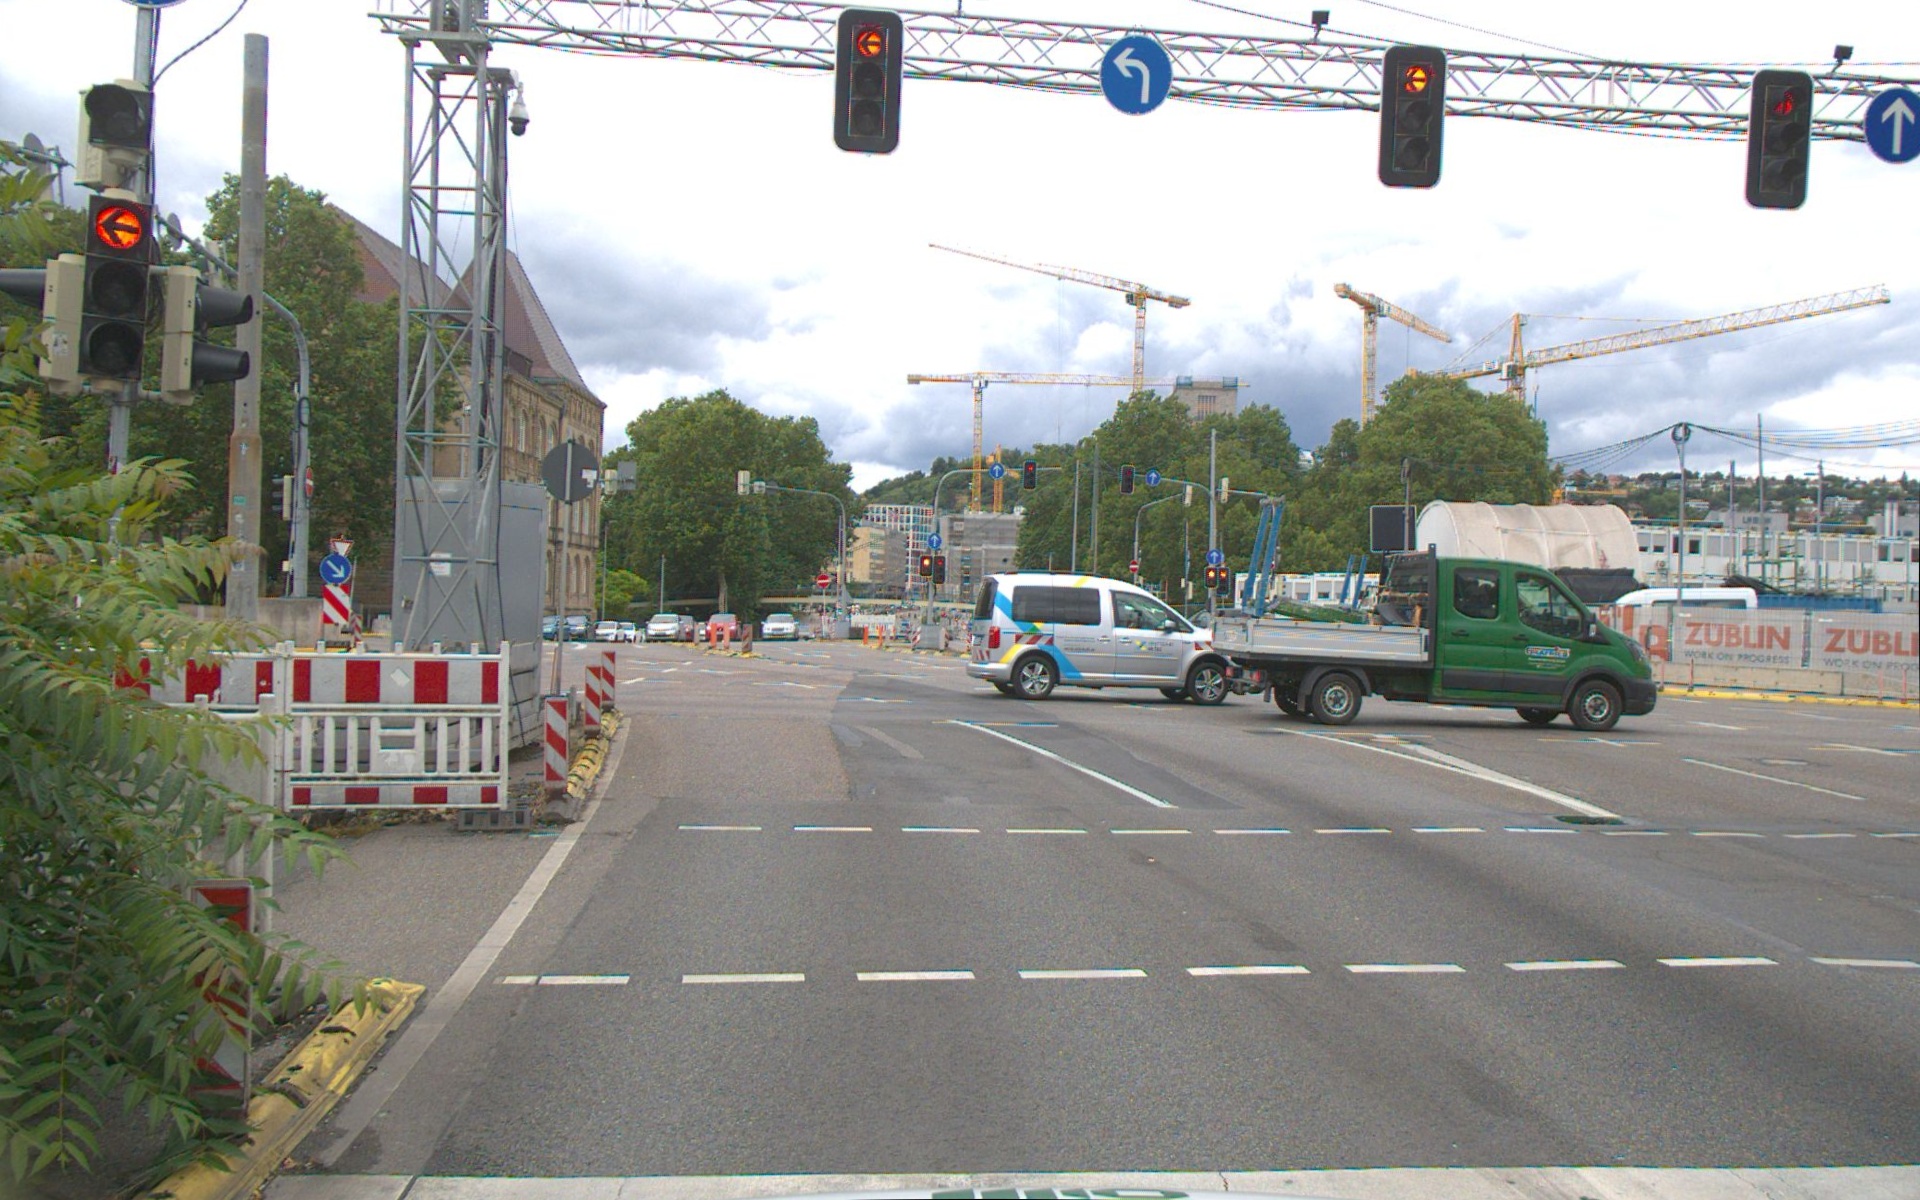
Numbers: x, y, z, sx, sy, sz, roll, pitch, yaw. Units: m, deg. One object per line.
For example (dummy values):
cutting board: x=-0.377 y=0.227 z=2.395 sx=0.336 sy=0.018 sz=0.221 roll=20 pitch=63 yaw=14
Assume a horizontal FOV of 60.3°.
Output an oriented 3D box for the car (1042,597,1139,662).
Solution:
car: x=3.771 y=0.833 z=48.523 sx=1.799 sy=1.776 sz=4.245 roll=1 pitch=0 yaw=-10

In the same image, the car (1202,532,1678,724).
car: x=6.280 y=0.373 z=22.071 sx=5.647 sy=2.345 sz=2.301 roll=1 pitch=0 yaw=-6

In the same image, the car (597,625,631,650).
car: x=-20.833 y=2.227 z=99.609 sx=1.644 sy=1.422 sz=3.677 roll=1 pitch=0 yaw=-7

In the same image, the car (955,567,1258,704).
car: x=2.148 y=0.529 z=24.803 sx=4.189 sy=1.915 sz=1.826 roll=1 pitch=0 yaw=-10

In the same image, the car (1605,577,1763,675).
car: x=20.816 y=0.740 z=47.677 sx=3.902 sy=2.708 sz=1.683 roll=1 pitch=0 yaw=13

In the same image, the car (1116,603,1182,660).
car: x=6.033 y=0.989 z=53.122 sx=1.642 sy=1.732 sz=3.374 roll=1 pitch=0 yaw=-1

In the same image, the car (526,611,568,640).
car: x=-21.490 y=1.302 z=86.134 sx=1.644 sy=1.422 sz=3.677 roll=1 pitch=0 yaw=-7

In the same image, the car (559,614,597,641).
car: x=-21.370 y=1.545 z=92.555 sx=1.644 sy=1.422 sz=3.677 roll=1 pitch=0 yaw=-7

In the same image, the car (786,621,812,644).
car: x=-10.528 y=2.105 z=107.950 sx=1.644 sy=1.422 sz=3.677 roll=1 pitch=0 yaw=-7

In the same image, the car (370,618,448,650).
car: x=-25.919 y=1.569 z=77.894 sx=1.641 sy=1.422 sz=3.685 roll=1 pitch=0 yaw=17

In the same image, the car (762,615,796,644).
car: x=-9.307 y=1.509 z=84.877 sx=1.644 sy=1.422 sz=3.677 roll=1 pitch=0 yaw=-7

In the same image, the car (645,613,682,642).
car: x=-15.268 y=1.407 z=85.370 sx=1.644 sy=1.422 sz=3.677 roll=1 pitch=0 yaw=-7

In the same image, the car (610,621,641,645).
car: x=-21.876 y=2.171 z=108.210 sx=1.644 sy=1.423 sz=3.677 roll=1 pitch=-3 yaw=-6

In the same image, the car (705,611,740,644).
car: x=-12.135 y=1.366 z=84.509 sx=1.644 sy=1.608 sz=3.677 roll=1 pitch=0 yaw=-7

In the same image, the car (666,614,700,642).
car: x=-15.309 y=1.534 z=91.529 sx=1.644 sy=1.422 sz=3.677 roll=1 pitch=0 yaw=-7
